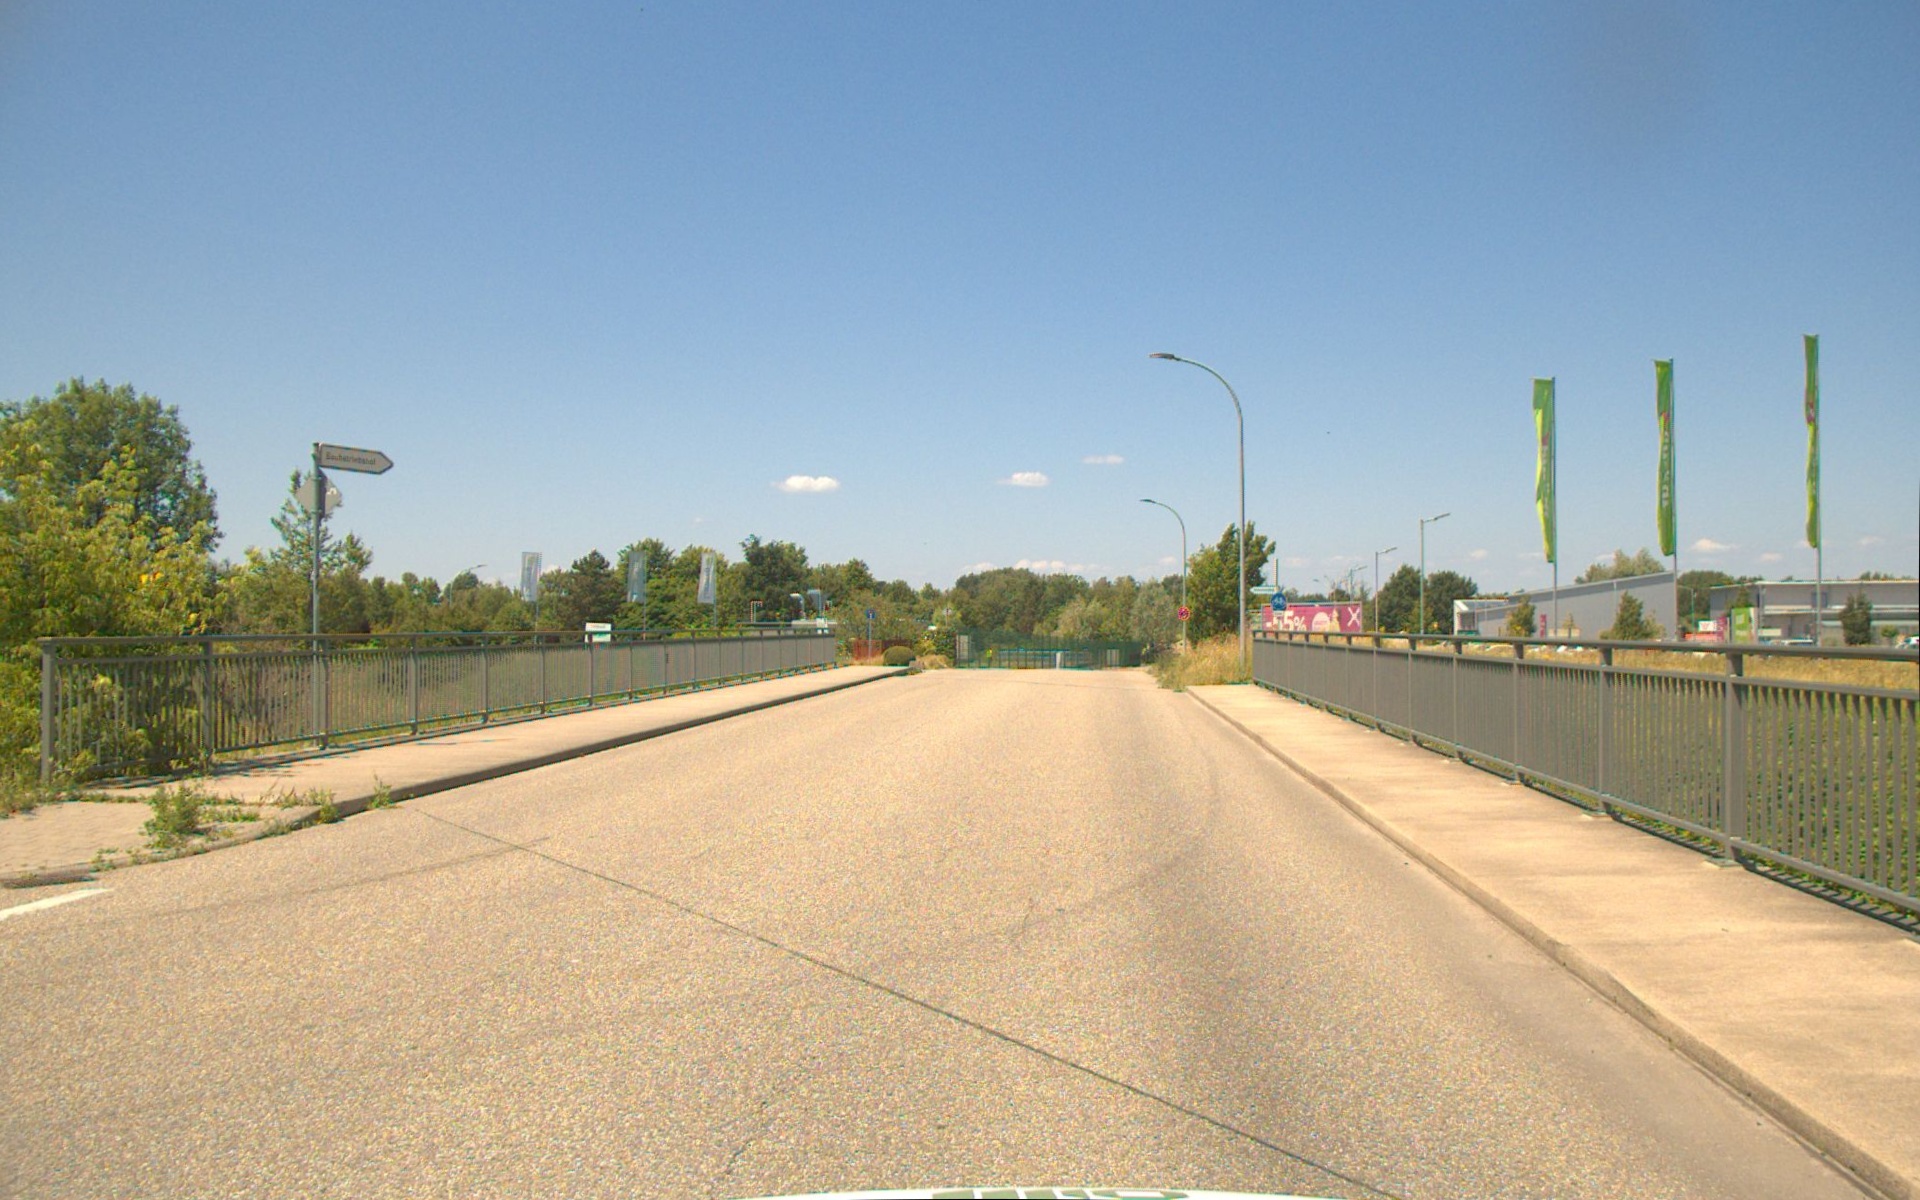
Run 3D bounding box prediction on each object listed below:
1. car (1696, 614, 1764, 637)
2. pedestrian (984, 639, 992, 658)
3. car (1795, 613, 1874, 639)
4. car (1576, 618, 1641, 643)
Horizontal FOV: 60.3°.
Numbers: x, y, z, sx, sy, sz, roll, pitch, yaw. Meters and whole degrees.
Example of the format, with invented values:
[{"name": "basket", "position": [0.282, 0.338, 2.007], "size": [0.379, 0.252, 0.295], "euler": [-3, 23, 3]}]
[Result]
[{"name": "car", "position": [53.865, 1.781, 115.797], "size": [3.902, 1.546, 2.001], "euler": [-1, -2, 9]}, {"name": "pedestrian", "position": [2.668, 4.652, 158.917], "size": [0.593, 1.871, 0.805], "euler": [-1, -2, 13]}, {"name": "car", "position": [55.411, 1.671, 104.833], "size": [3.903, 1.546, 2.001], "euler": [-1, -2, 4]}, {"name": "car", "position": [42.222, 1.980, 107.718], "size": [3.656, 1.598, 1.892], "euler": [0, -1, 11]}]
